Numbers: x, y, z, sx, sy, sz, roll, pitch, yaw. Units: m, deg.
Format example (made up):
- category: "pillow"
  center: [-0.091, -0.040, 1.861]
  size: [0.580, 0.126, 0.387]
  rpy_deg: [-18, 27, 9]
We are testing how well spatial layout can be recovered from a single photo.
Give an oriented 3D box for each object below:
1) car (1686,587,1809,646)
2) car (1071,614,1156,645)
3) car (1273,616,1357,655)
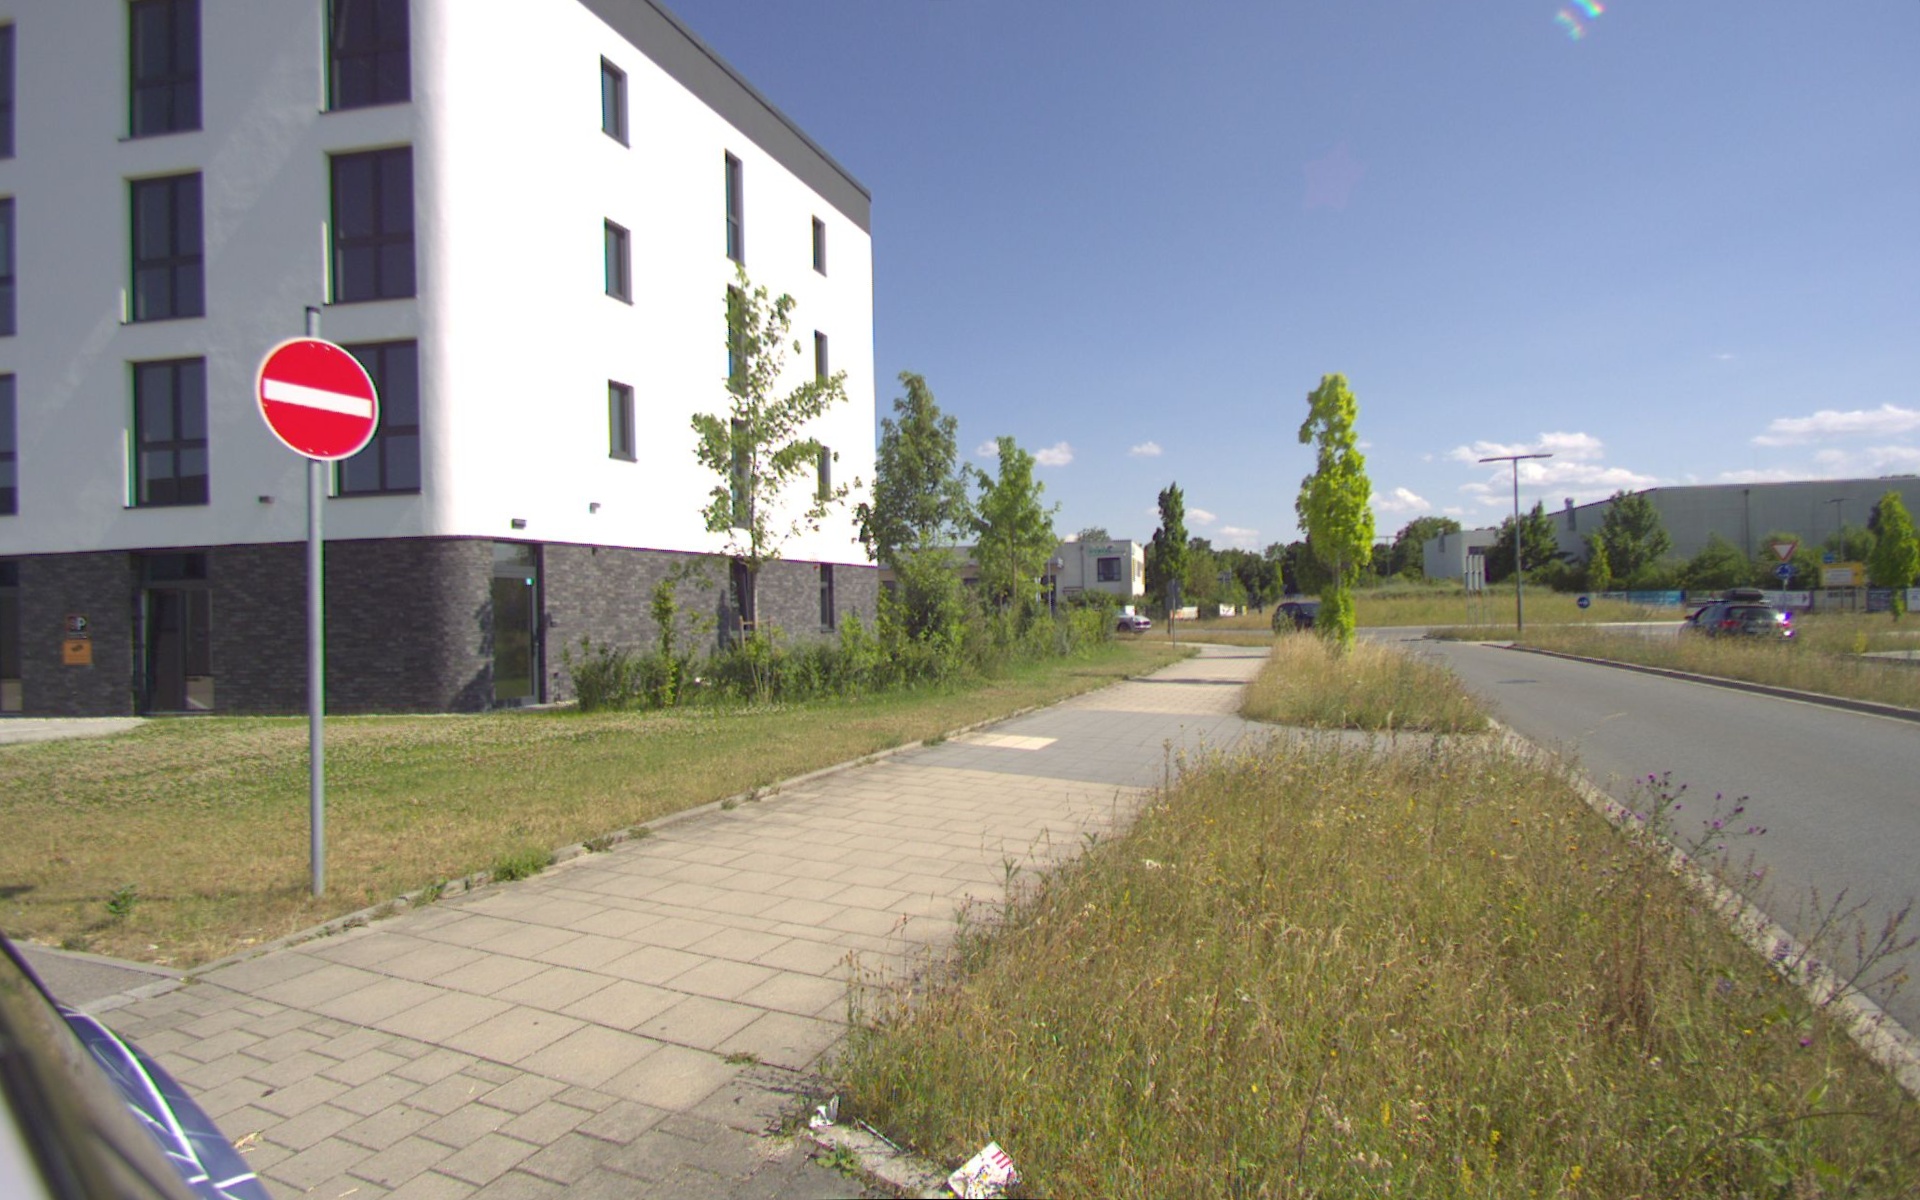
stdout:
- category: "car"
  center: [21.947, 0.420, 28.386]
  size: [1.991, 1.528, 4.157]
  rpy_deg: [-1, 0, 28]
- category: "car"
  center: [8.720, 1.664, 57.513]
  size: [4.382, 1.586, 1.823]
  rpy_deg: [-2, 0, 31]
- category: "car"
  center: [15.891, 1.591, 45.466]
  size: [1.813, 1.586, 4.007]
  rpy_deg: [-2, -2, -9]
